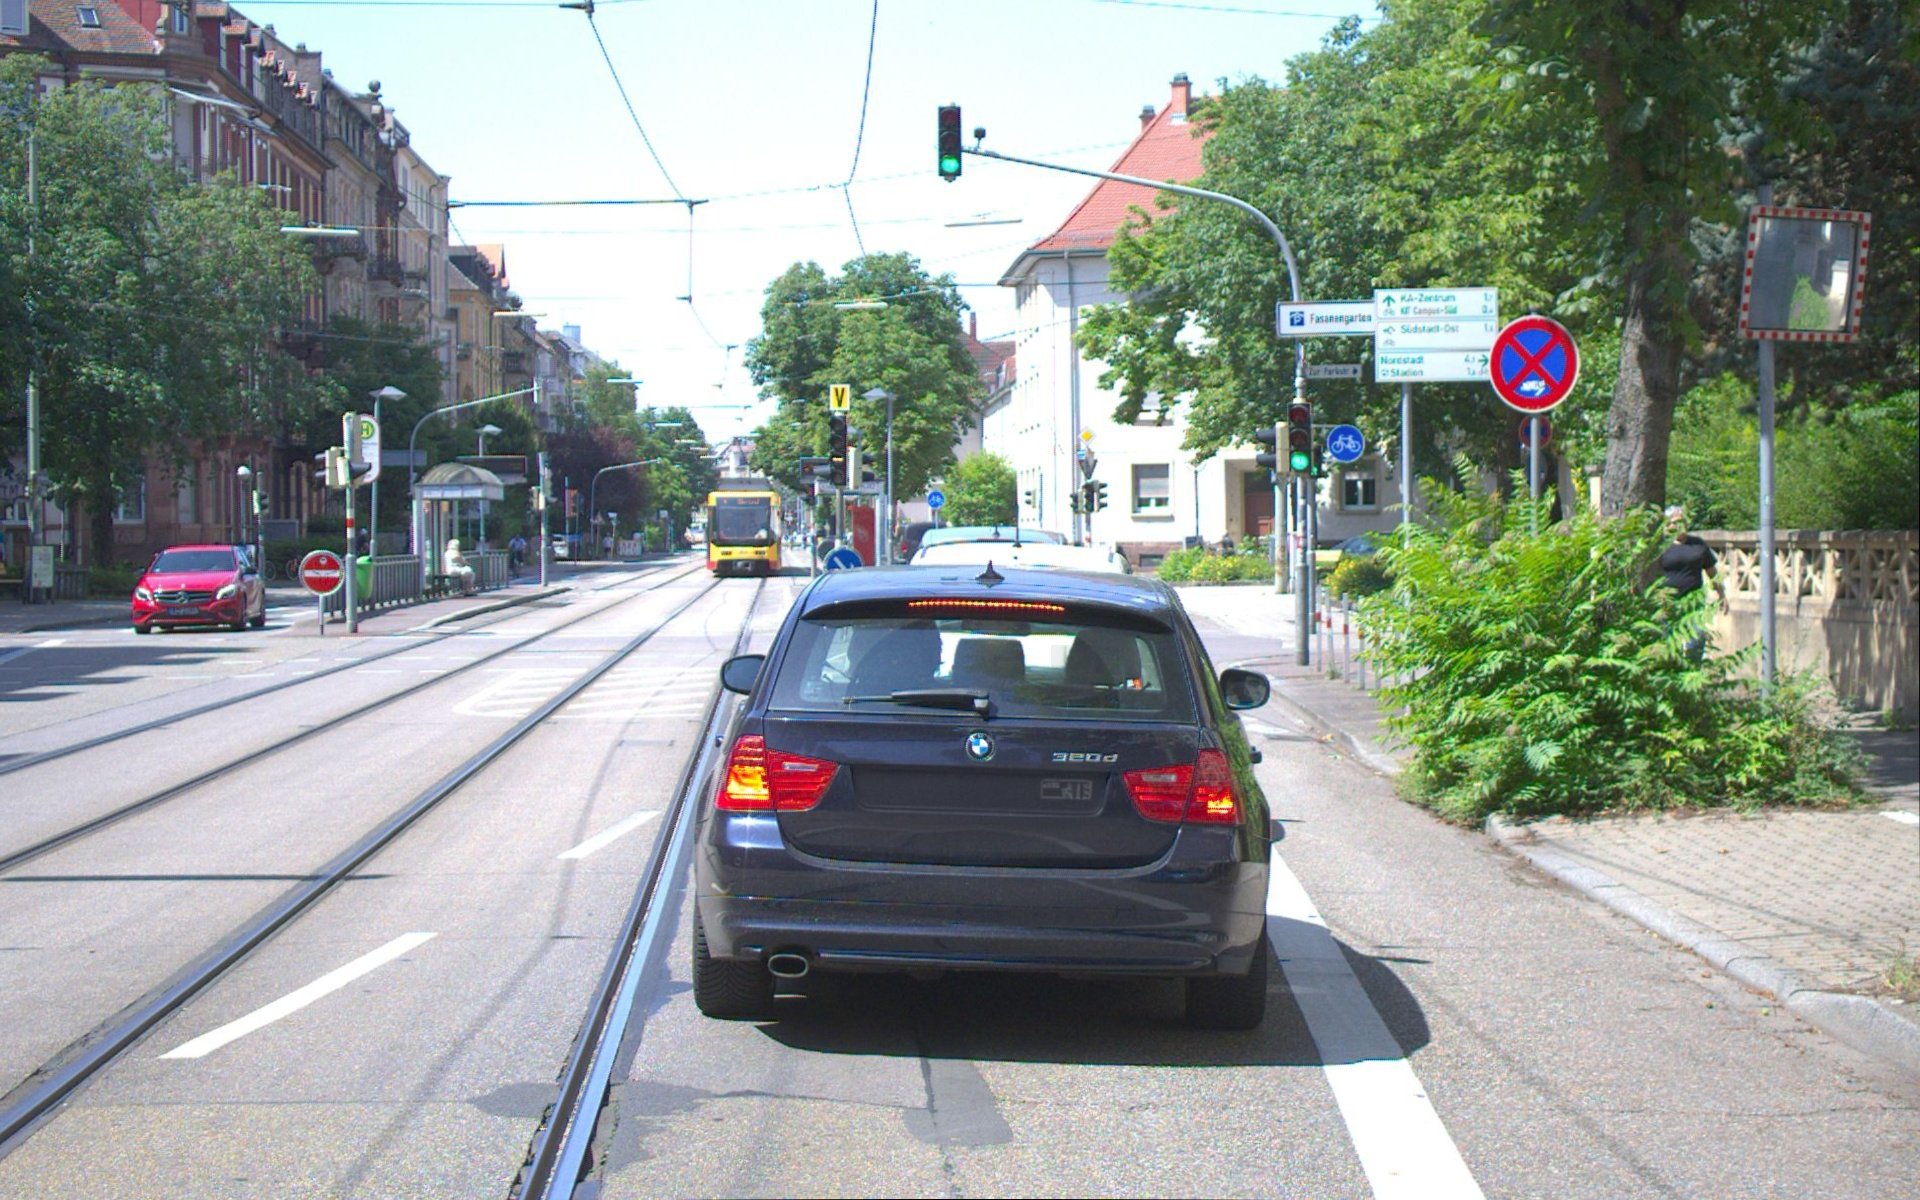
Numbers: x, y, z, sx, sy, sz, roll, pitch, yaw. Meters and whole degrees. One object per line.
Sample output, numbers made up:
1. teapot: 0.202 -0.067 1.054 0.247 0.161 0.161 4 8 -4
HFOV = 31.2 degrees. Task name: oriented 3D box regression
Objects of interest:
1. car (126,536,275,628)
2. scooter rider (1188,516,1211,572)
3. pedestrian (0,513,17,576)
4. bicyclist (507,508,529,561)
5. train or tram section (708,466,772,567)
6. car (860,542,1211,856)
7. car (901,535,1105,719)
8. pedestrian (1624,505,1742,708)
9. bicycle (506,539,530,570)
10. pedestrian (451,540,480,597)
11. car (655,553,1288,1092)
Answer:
1. car: -12.654 -0.328 57.492 1.822 1.408 4.430 -2 1 -5
2. scooter rider: 7.277 -1.703 104.469 0.590 1.681 0.528 -1 1 -8
3. pedestrian: -27.675 -1.601 99.063 0.738 1.805 0.641 -1 1 -40
4. bicyclist: -15.647 -2.319 121.638 0.722 1.864 0.825 -1 1 -6
5. train or tram section: -7.876 -2.984 123.579 2.190 3.470 8.846 -1 1 -3
6. car: 0.344 0.447 18.452 1.685 1.479 3.685 0 1 -1
7. car: 0.377 0.187 30.750 1.691 1.508 3.821 1 1 0
8. pedestrian: 5.971 0.046 28.429 0.857 1.640 0.836 -1 1 6
9. bicycle: -15.627 -1.616 121.559 0.728 1.098 1.716 0 1 -3
10. pedestrian: -10.849 -0.690 75.469 0.613 1.238 0.628 0 1 -8
11. car: 0.121 0.587 11.857 1.723 1.404 4.564 2 1 2
